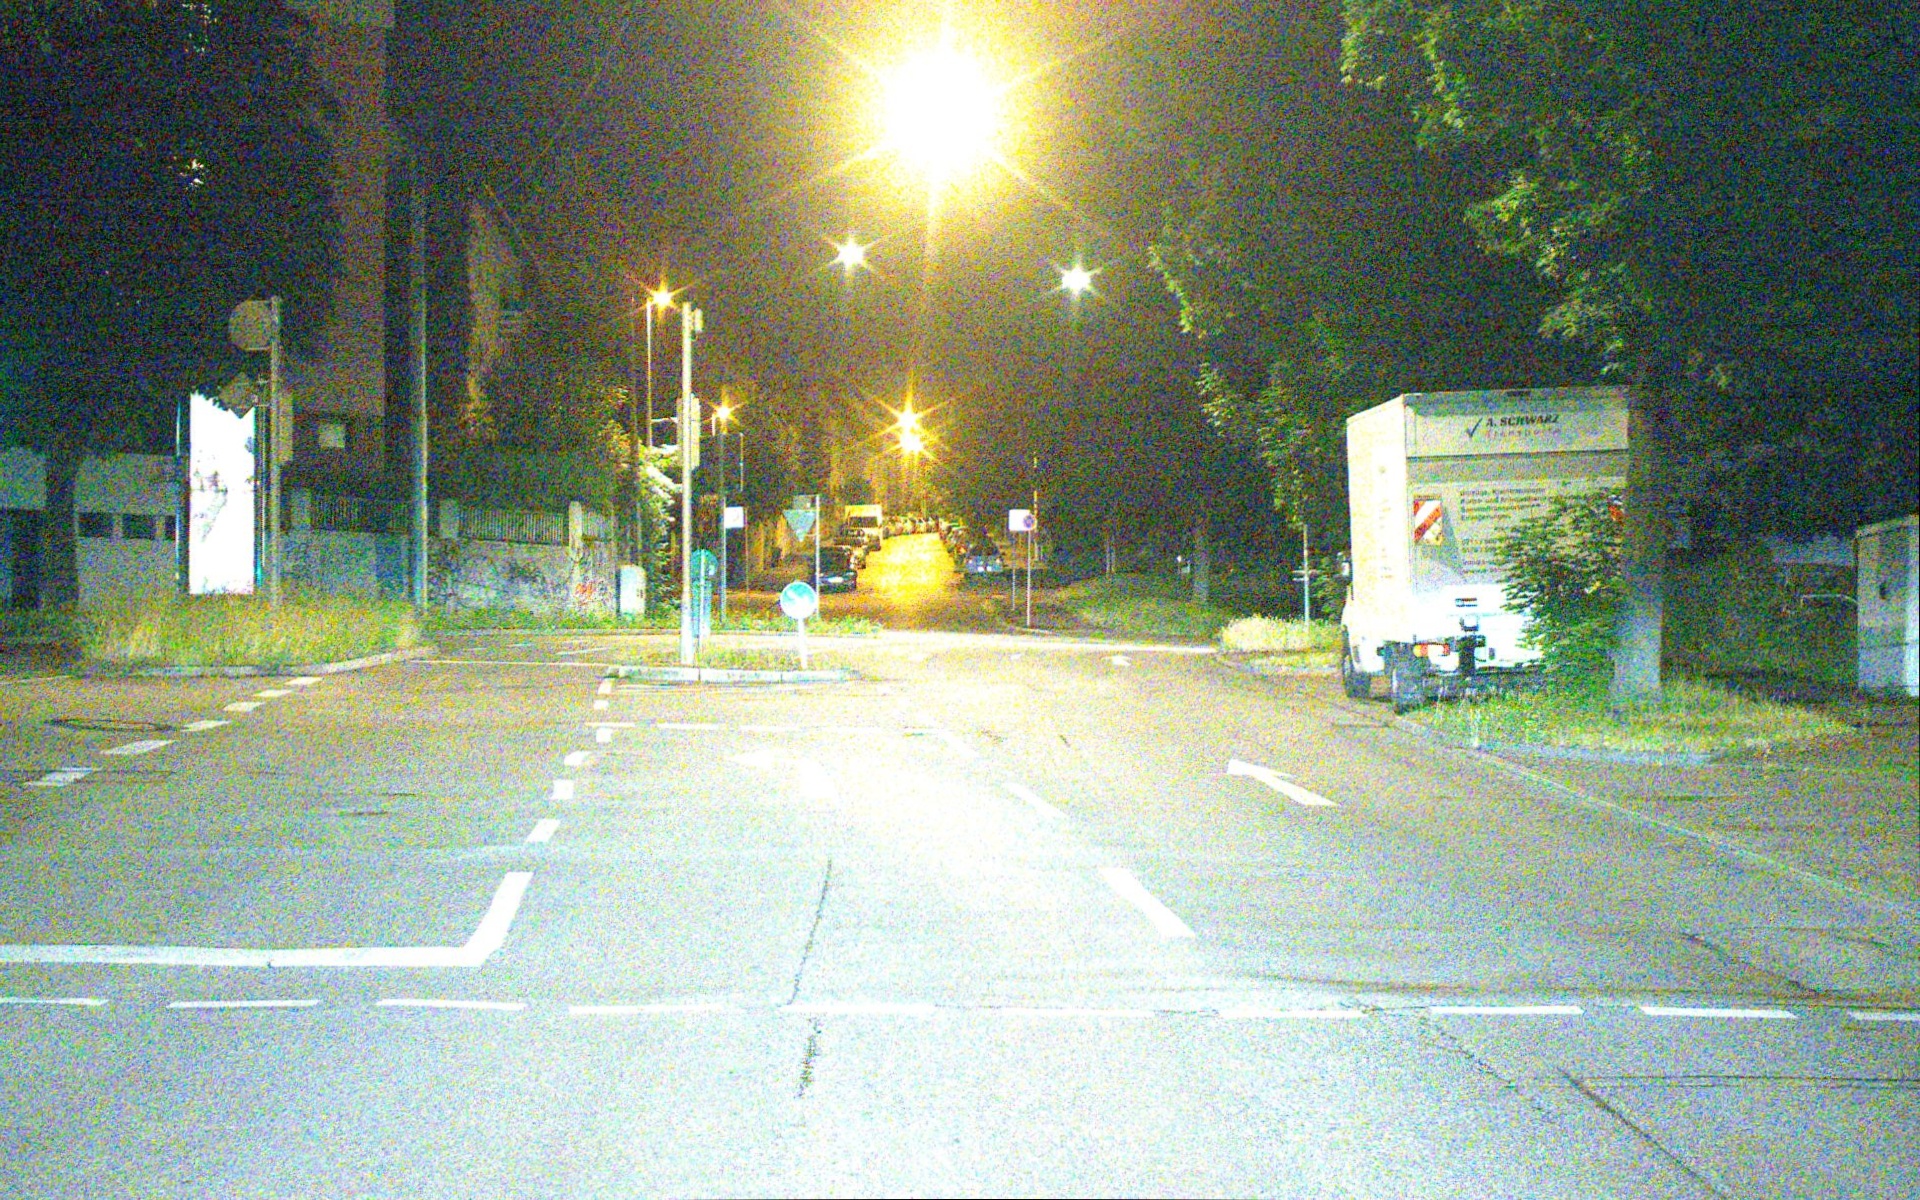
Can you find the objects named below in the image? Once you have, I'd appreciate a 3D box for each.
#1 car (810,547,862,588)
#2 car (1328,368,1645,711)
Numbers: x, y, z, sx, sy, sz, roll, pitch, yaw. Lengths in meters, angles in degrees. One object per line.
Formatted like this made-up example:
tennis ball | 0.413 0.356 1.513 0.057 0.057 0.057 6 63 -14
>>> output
car | -4.837 -1.290 134.368 1.908 1.552 3.904 1 1 -1
car | 5.118 -0.586 34.301 2.297 3.082 5.840 -1 1 1
